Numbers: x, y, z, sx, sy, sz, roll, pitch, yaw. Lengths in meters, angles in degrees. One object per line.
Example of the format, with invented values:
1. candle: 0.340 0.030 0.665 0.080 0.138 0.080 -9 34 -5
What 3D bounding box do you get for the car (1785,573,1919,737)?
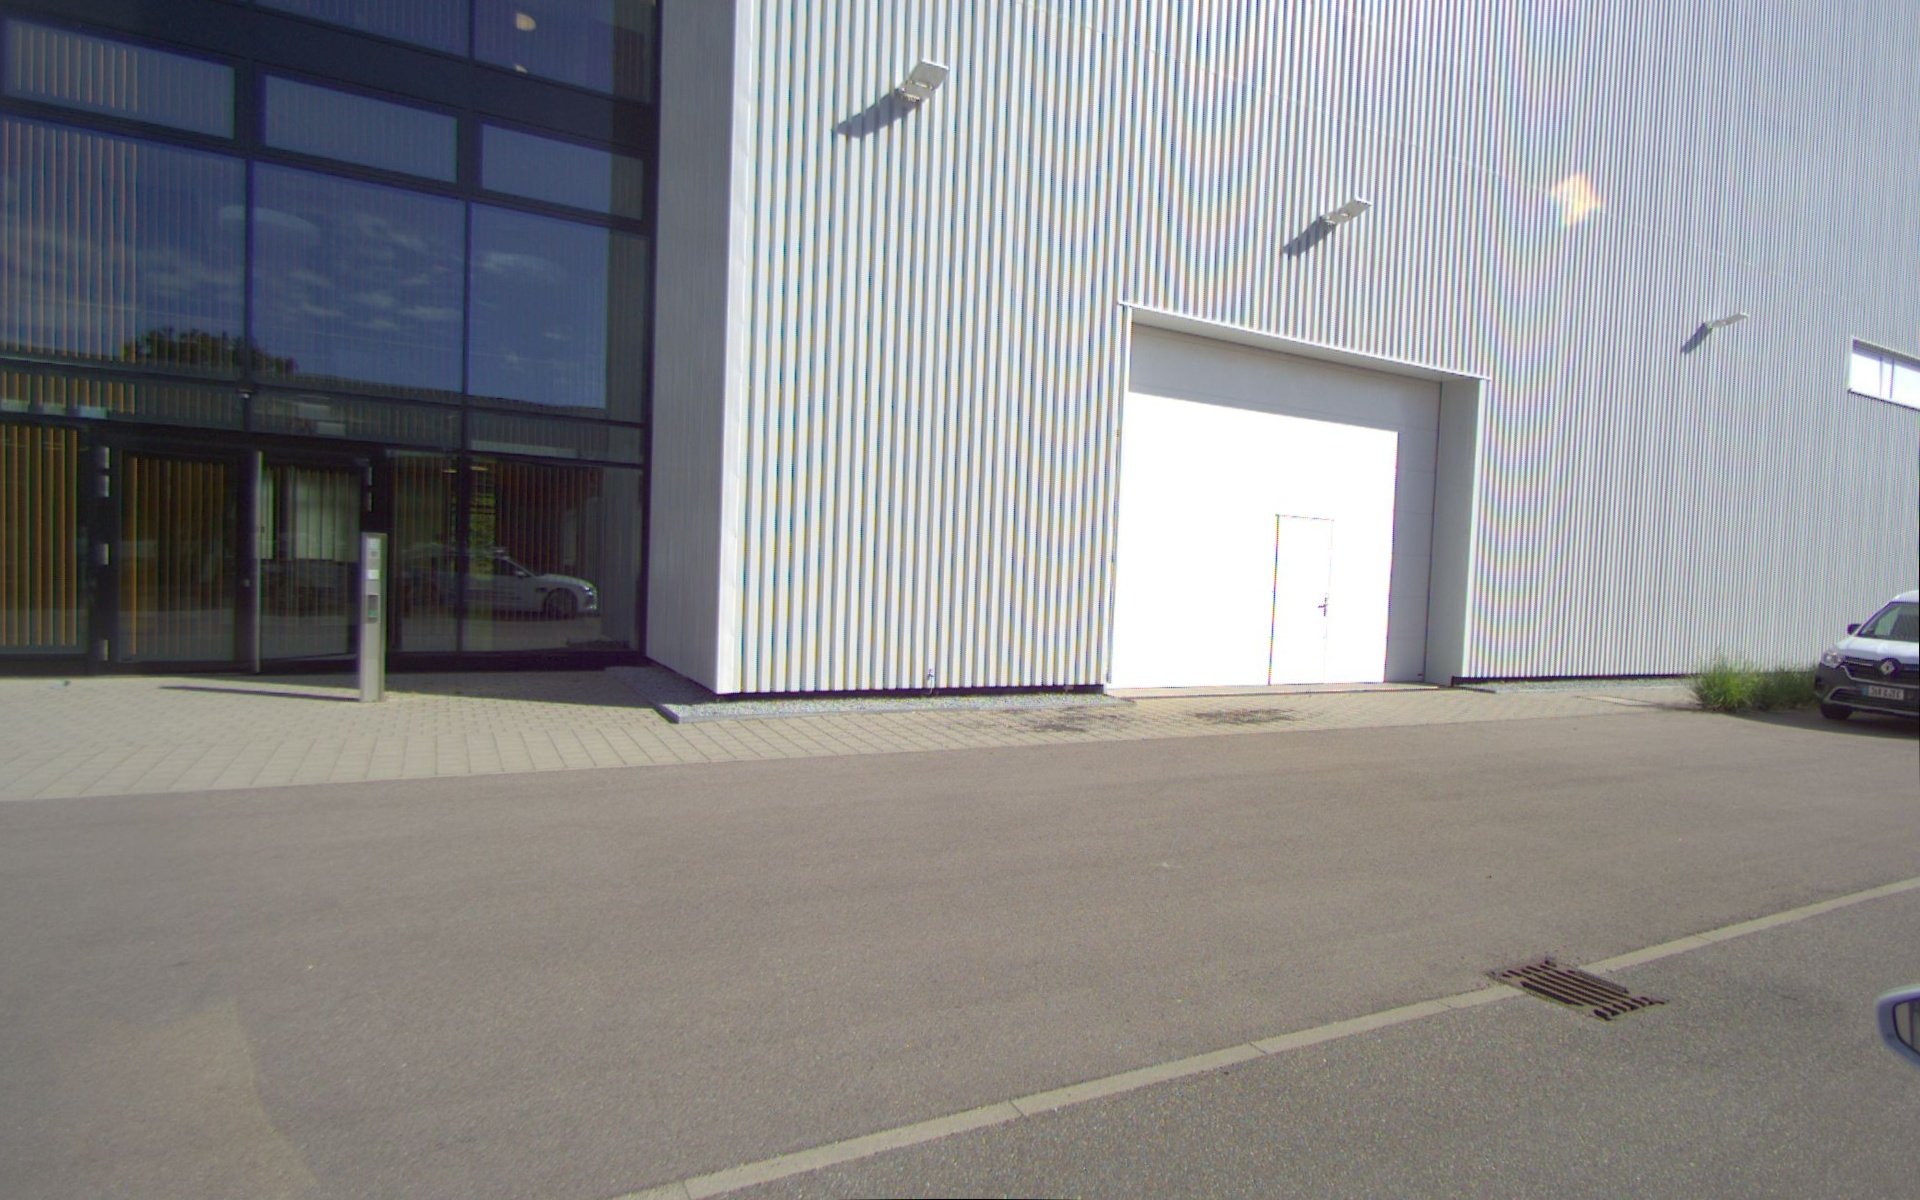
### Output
1. car: 13.072 0.706 13.203 4.305 1.870 1.882 1 4 -29
